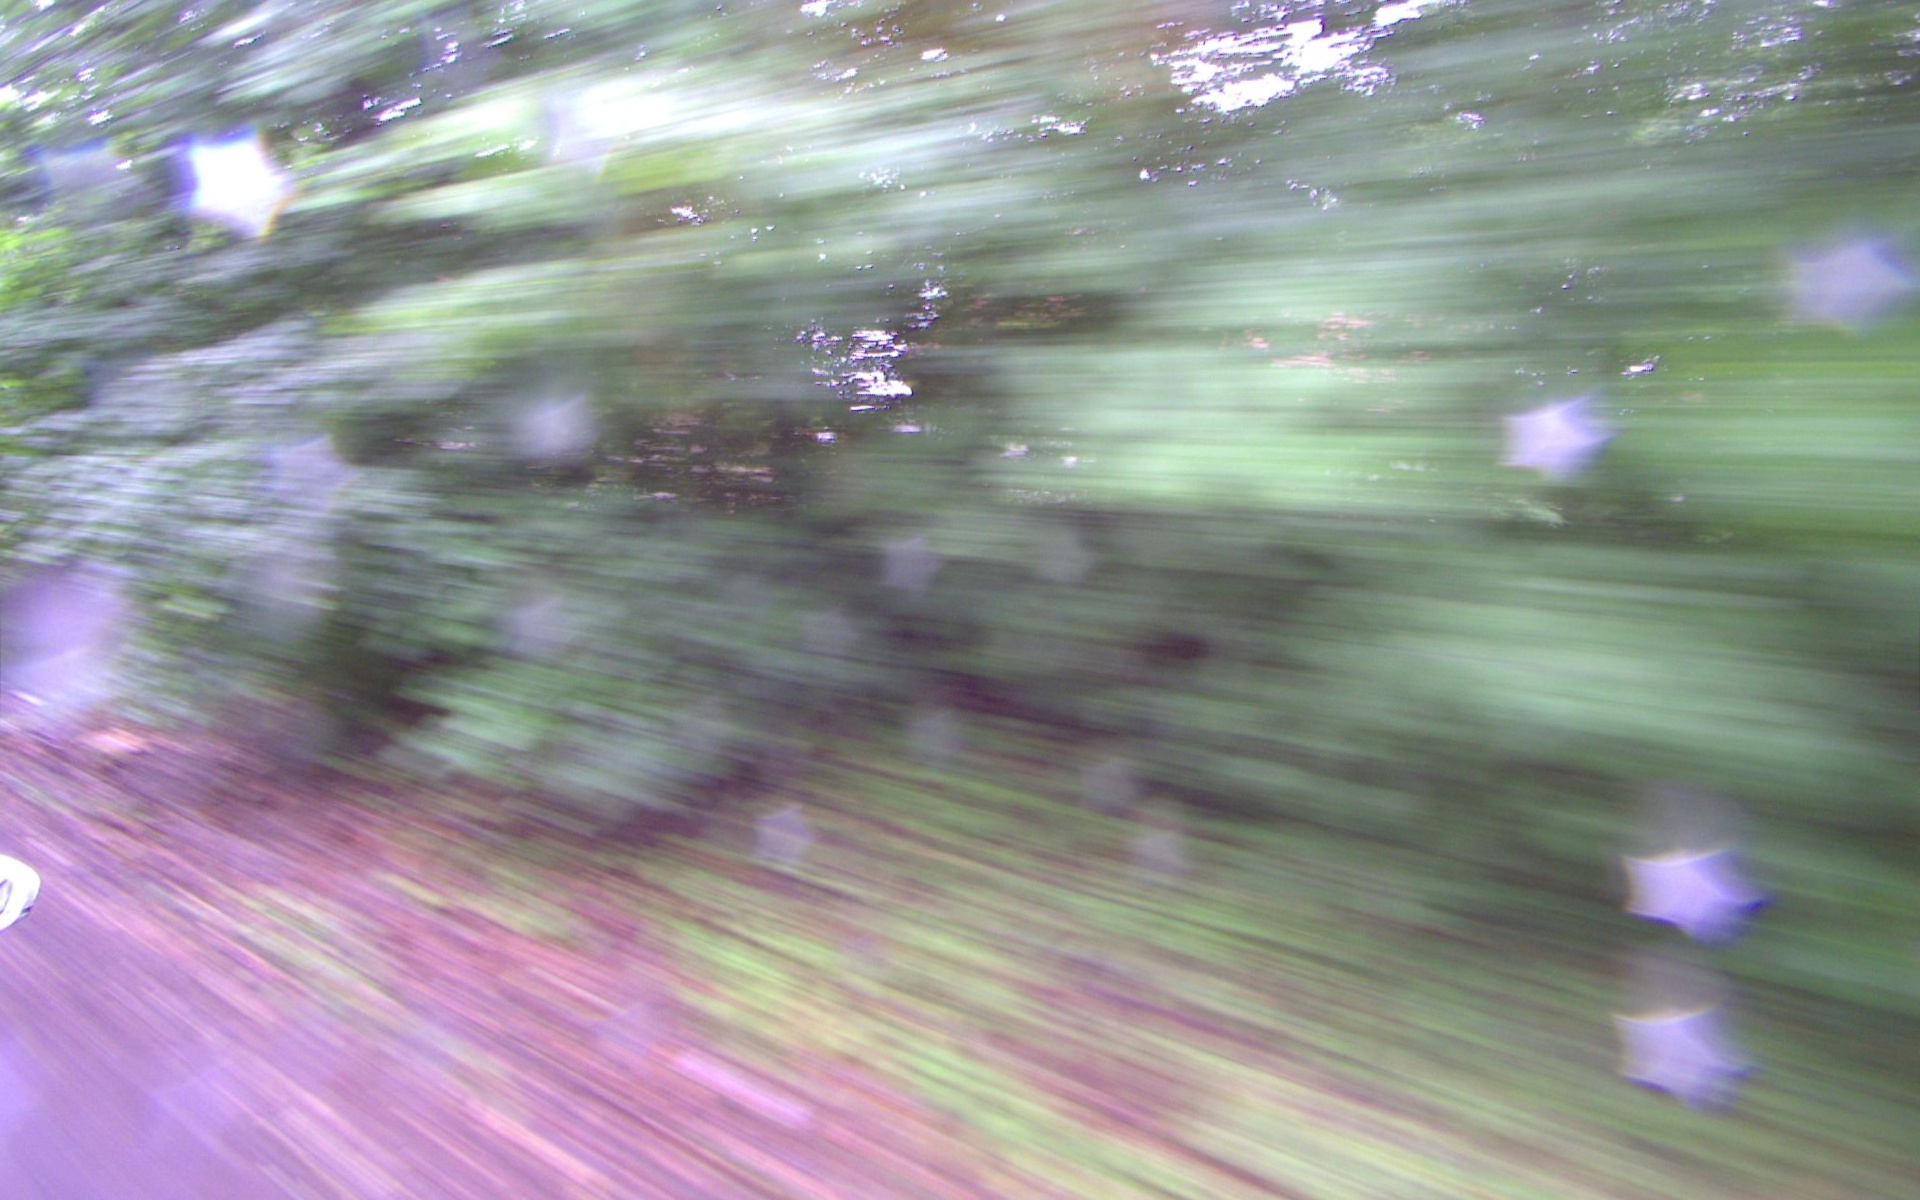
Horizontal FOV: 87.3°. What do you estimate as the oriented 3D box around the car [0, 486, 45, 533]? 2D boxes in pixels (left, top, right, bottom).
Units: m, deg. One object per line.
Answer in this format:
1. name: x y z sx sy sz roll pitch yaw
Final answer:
1. car: -39.159 -3.784 39.251 4.759 1.699 1.871 7 1 -10
